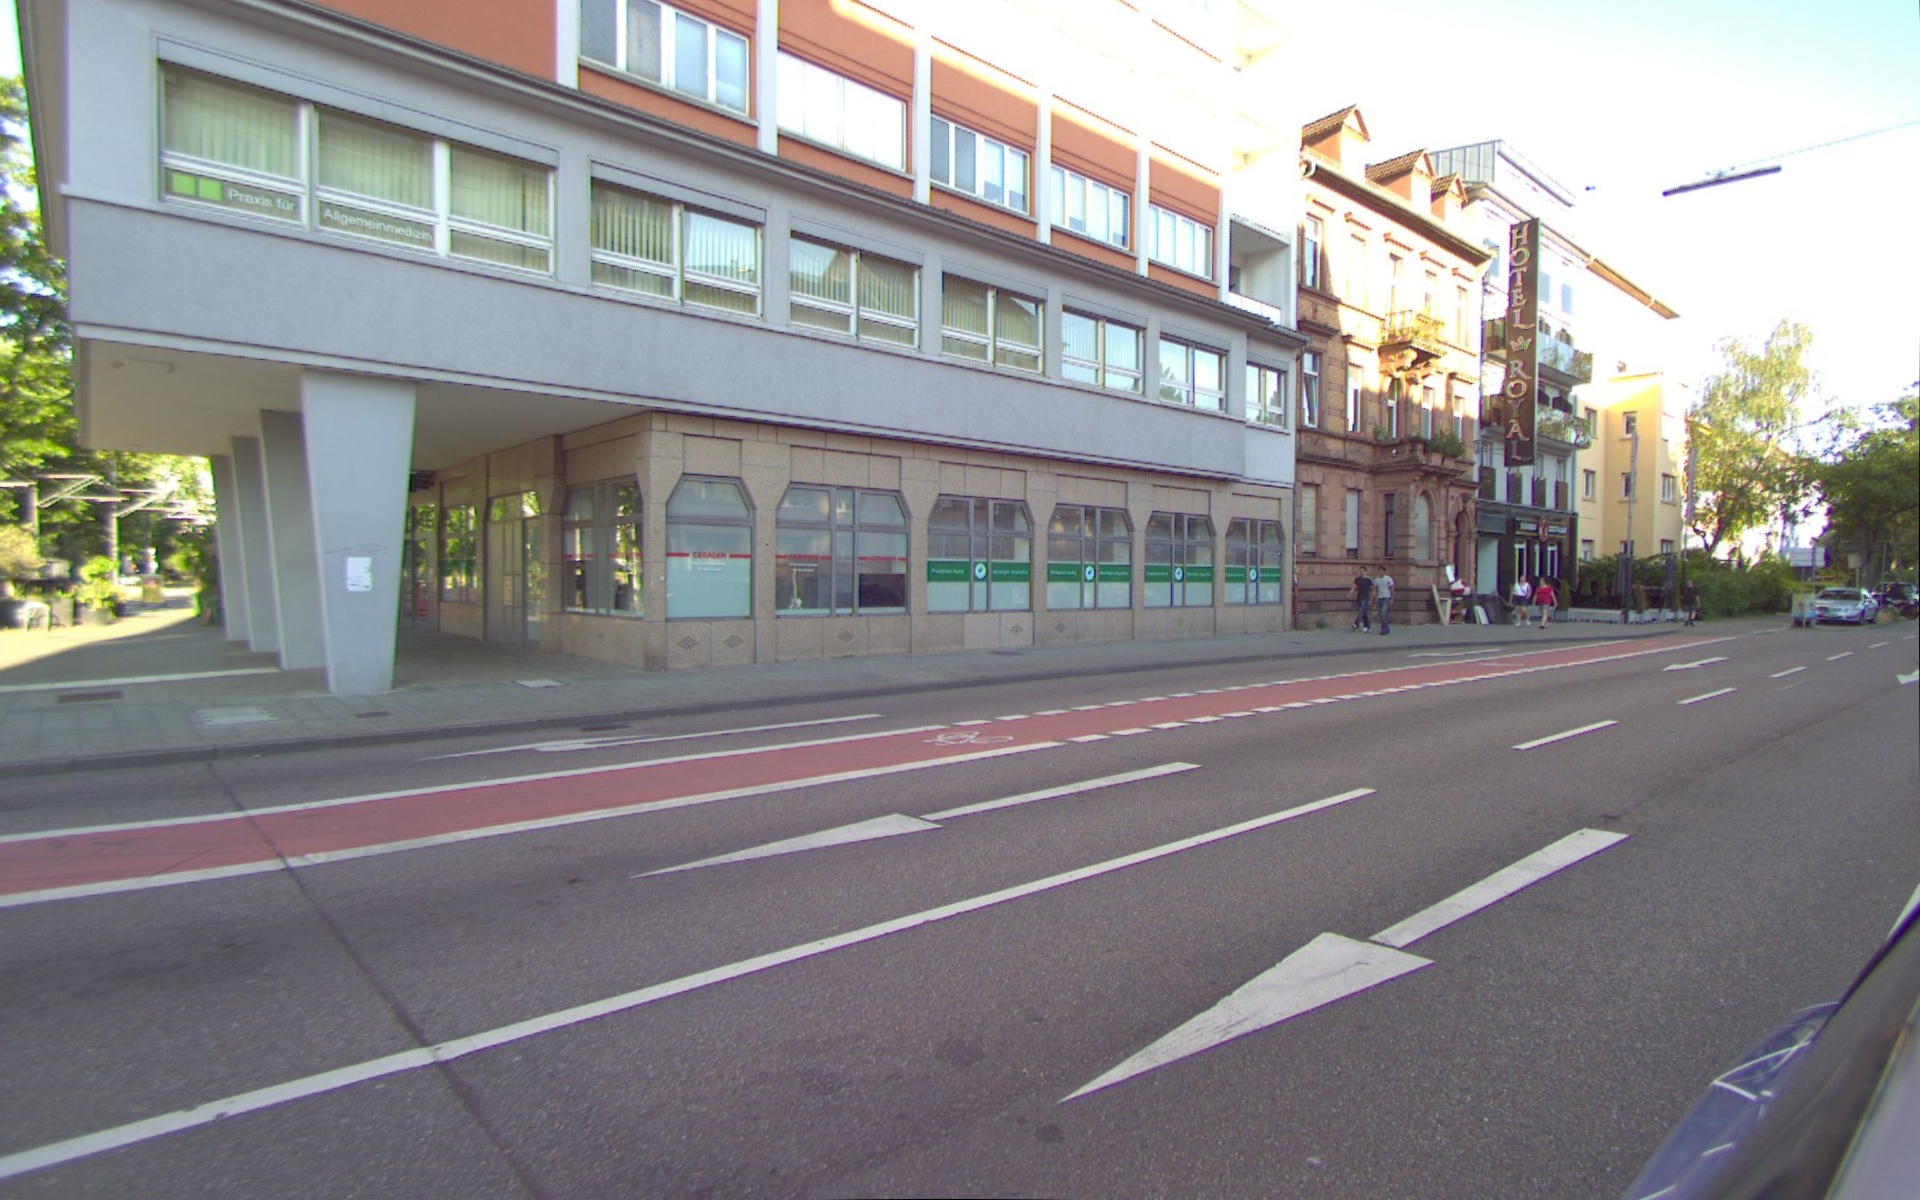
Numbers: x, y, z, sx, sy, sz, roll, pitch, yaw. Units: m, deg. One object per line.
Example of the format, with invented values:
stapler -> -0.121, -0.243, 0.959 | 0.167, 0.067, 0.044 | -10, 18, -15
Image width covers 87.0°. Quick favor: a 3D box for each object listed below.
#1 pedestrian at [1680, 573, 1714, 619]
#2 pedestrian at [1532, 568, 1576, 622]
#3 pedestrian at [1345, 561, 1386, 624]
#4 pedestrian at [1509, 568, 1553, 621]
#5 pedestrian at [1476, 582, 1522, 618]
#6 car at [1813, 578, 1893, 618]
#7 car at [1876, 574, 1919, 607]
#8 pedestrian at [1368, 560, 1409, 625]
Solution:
pedestrian -> 26.695, -0.155, 36.658 | 0.994, 1.621, 0.738 | -1, 4, -43
pedestrian -> 18.673, -0.169, 31.823 | 0.992, 1.606, 0.739 | 0, 5, -37
pedestrian -> 11.419, -0.216, 28.466 | 0.993, 1.747, 0.667 | 0, 1, -40
pedestrian -> 18.276, -0.180, 32.408 | 0.992, 1.606, 0.787 | 0, 5, -37
pedestrian -> 17.681, -0.024, 33.190 | 0.909, 1.150, 1.099 | -1, 1, -43
car -> 36.653, -0.118, 41.502 | 4.003, 1.536, 1.905 | -1, 2, -40
car -> 48.378, -0.502, 51.673 | 4.121, 1.645, 1.946 | -1, 2, -41
pedestrian -> 11.800, -0.226, 27.853 | 0.993, 1.747, 0.667 | 0, 1, -40
